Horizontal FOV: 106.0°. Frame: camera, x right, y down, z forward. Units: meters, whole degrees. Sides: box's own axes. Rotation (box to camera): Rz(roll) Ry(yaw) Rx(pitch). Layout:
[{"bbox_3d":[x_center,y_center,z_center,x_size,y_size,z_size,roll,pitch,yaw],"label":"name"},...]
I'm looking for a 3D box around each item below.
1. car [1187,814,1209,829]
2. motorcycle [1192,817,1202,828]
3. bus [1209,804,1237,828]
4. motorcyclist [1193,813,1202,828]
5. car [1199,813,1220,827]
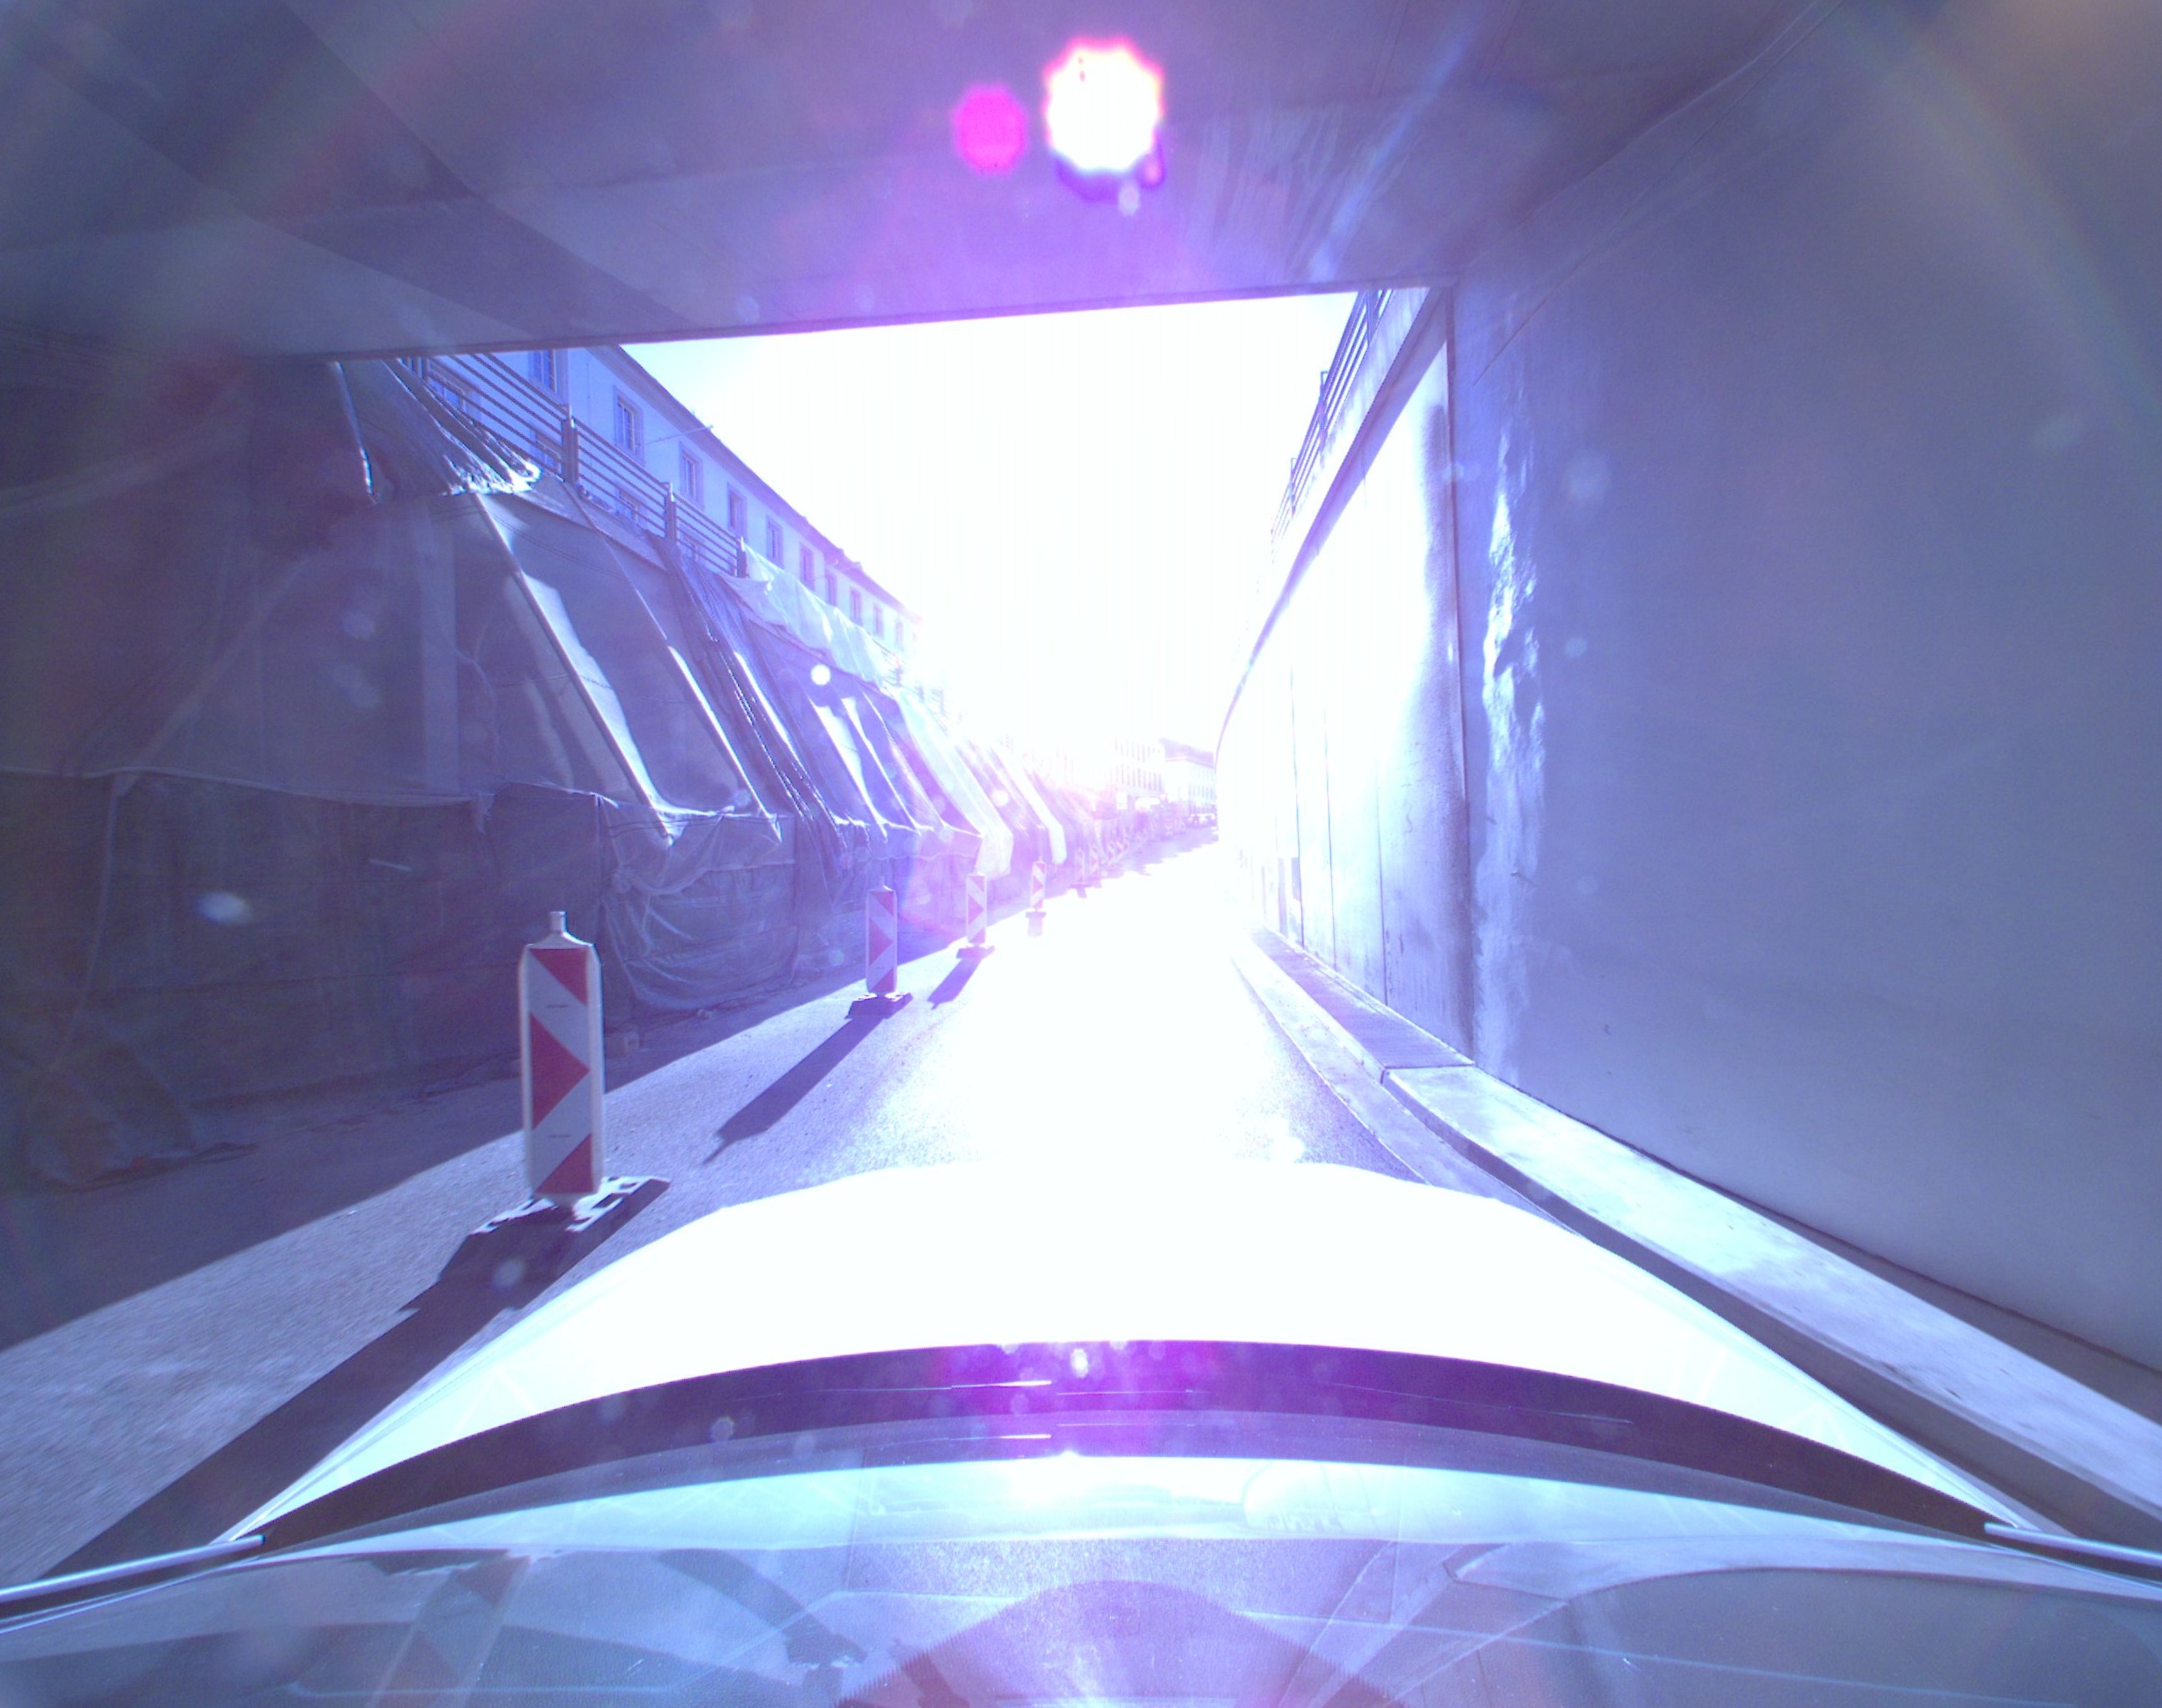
[{"bbox_3d":[13.204,-3.655,91.699,1.762,1.604,4.019,-1,2,17],"label":"car"},{"bbox_3d":[12.096,-3.265,84.739,0.765,0.992,2.193,-1,-1,16],"label":"motorcycle"},{"bbox_3d":[15.463,-4.150,88.493,2.206,2.556,4.451,-1,3,21],"label":"bus"},{"bbox_3d":[12.080,-3.521,84.679,0.798,1.504,0.780,-1,-1,15],"label":"motorcyclist"},{"bbox_3d":[15.413,-4.072,97.651,1.806,1.533,4.020,-1,2,18],"label":"car"}]
